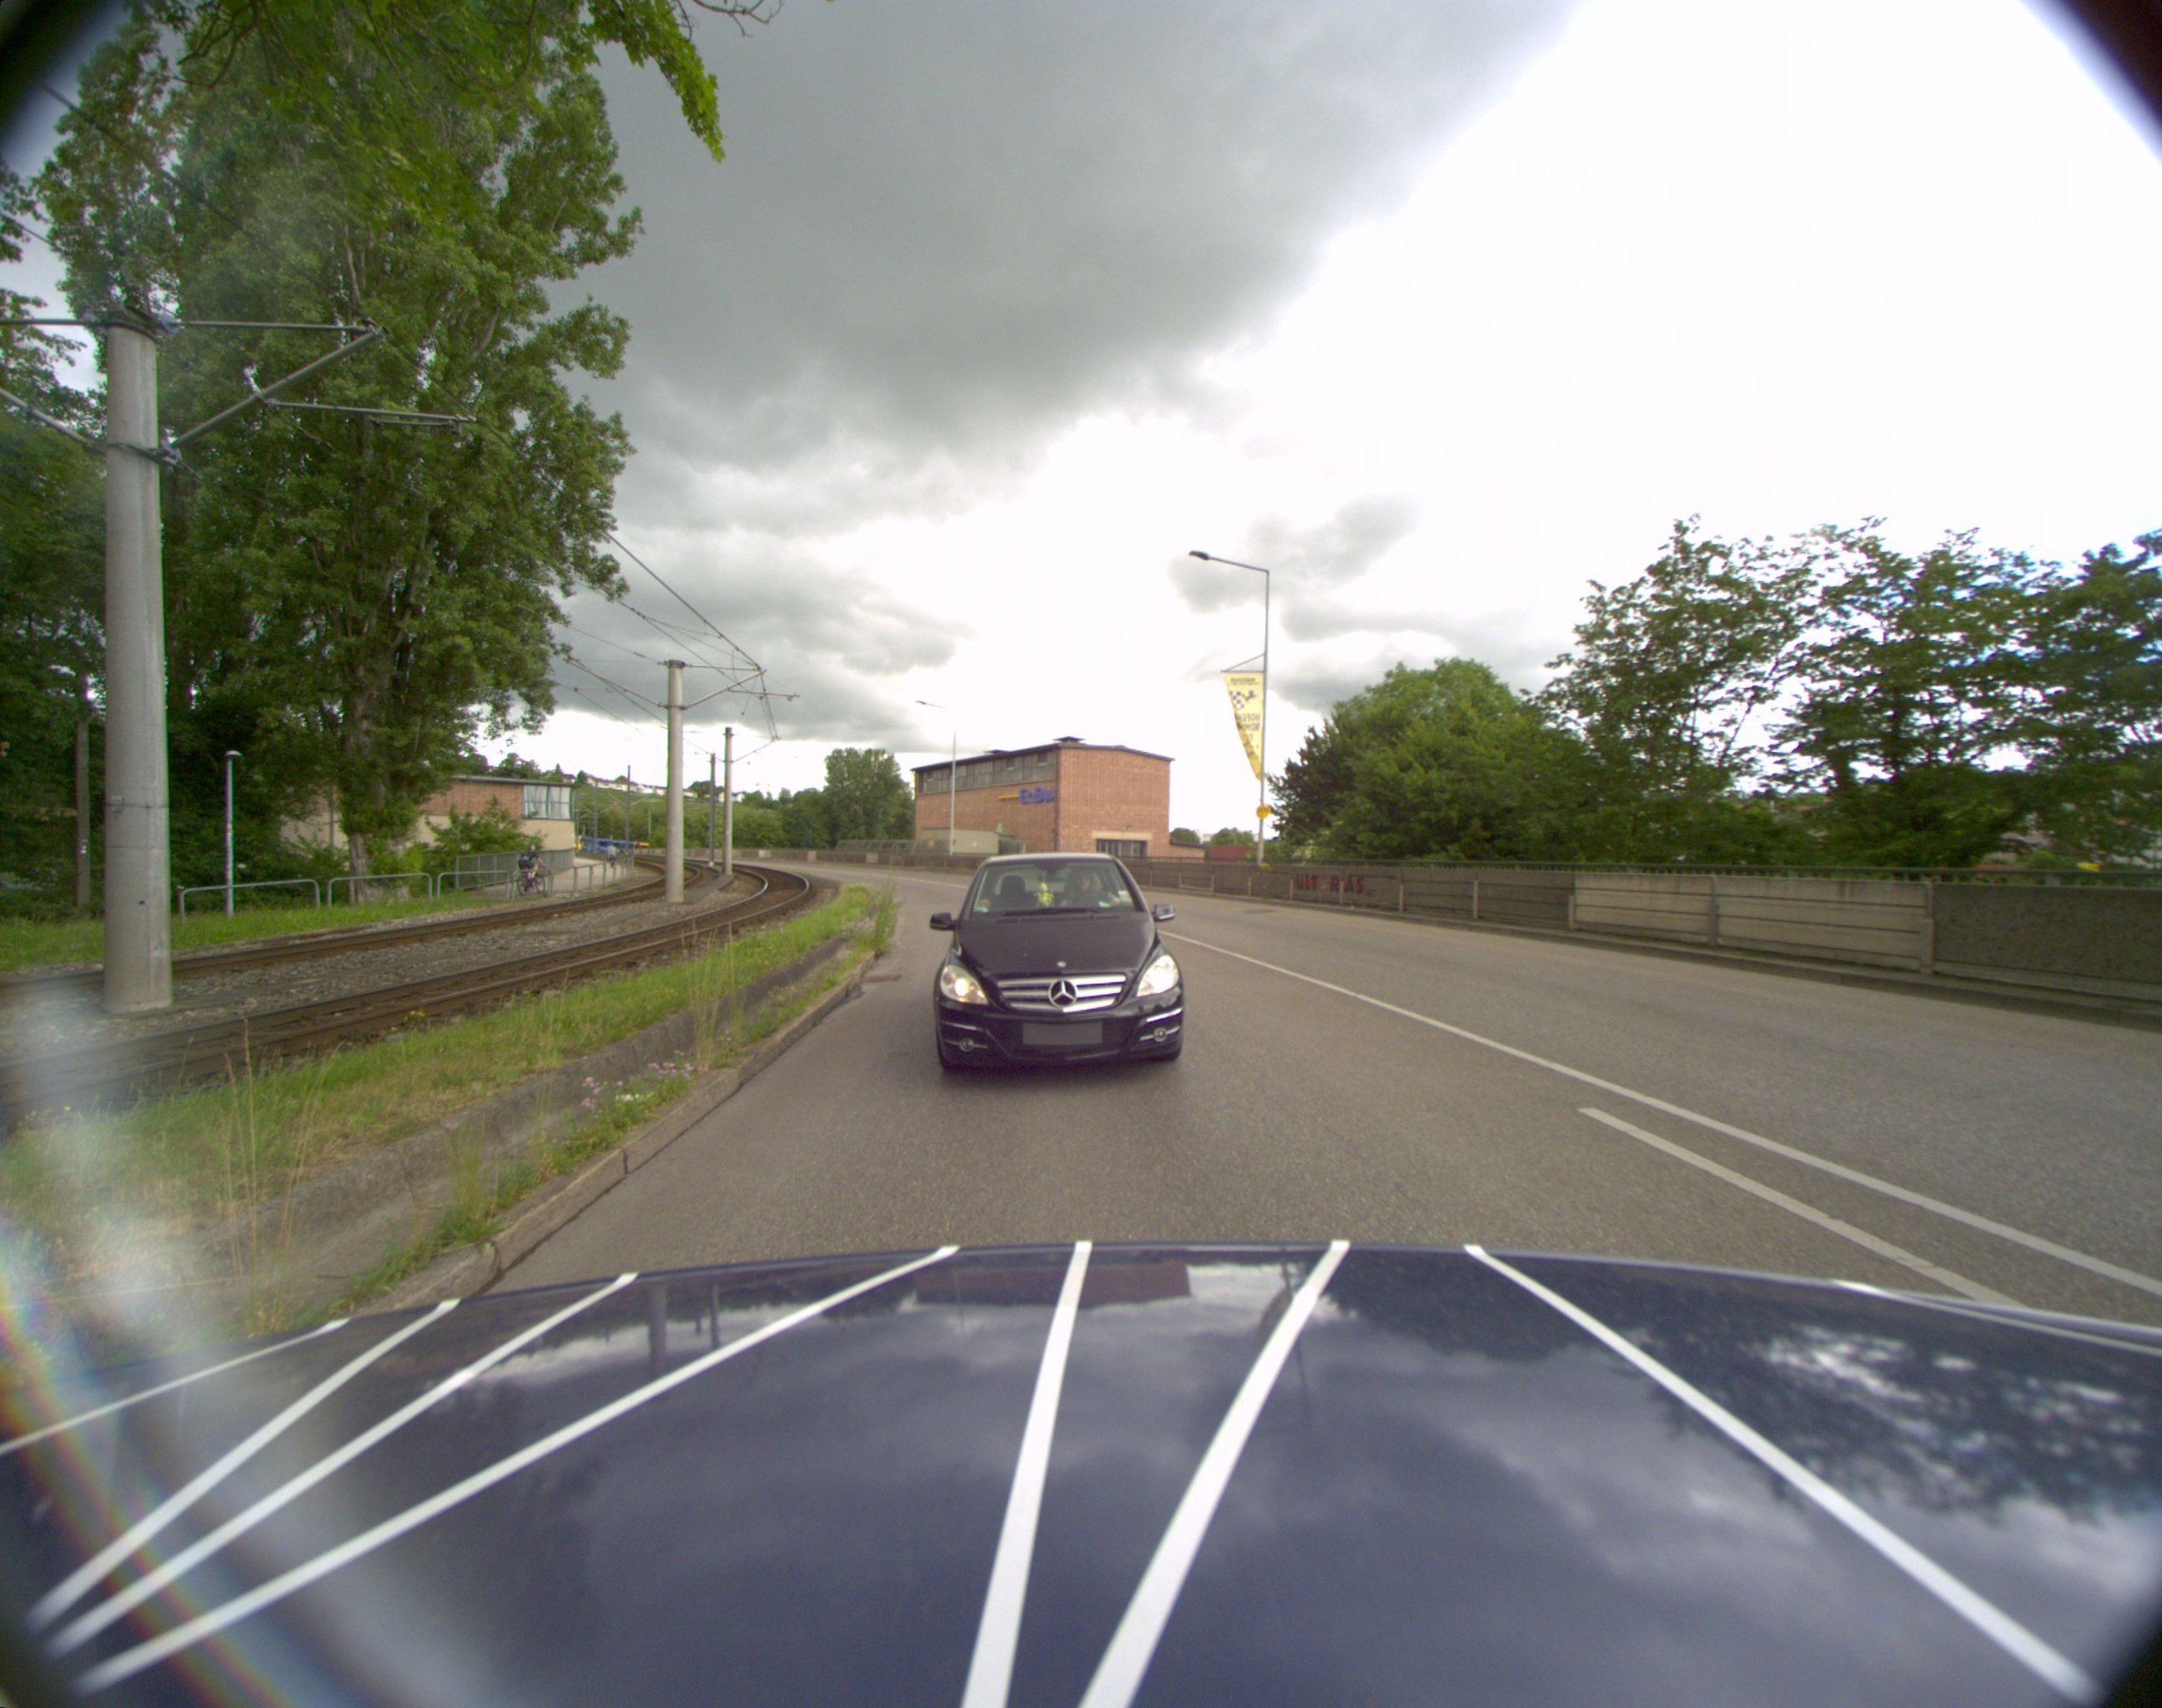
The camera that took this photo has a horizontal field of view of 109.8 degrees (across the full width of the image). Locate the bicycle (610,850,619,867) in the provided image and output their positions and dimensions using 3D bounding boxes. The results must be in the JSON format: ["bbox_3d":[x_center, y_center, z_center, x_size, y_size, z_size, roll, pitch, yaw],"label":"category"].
[{"bbox_3d":[-29.890,0.264,48.669,0.428,1.044,2.075,-2,1,-33],"label":"bicycle"}]

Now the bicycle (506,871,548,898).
[{"bbox_3d":[-17.796,0.968,24.438,0.348,0.790,1.547,0,0,-6],"label":"bicycle"}]

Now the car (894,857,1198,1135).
[{"bbox_3d":[-0.225,0.889,6.682,1.860,1.612,3.999,0,1,0],"label":"car"}]

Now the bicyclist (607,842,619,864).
[{"bbox_3d":[-29.967,-0.065,48.642,0.596,1.352,0.908,-2,1,-34],"label":"bicyclist"}]

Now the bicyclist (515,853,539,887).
[{"bbox_3d":[-17.801,0.511,24.414,0.417,1.077,0.474,0,1,-5],"label":"bicyclist"}]
